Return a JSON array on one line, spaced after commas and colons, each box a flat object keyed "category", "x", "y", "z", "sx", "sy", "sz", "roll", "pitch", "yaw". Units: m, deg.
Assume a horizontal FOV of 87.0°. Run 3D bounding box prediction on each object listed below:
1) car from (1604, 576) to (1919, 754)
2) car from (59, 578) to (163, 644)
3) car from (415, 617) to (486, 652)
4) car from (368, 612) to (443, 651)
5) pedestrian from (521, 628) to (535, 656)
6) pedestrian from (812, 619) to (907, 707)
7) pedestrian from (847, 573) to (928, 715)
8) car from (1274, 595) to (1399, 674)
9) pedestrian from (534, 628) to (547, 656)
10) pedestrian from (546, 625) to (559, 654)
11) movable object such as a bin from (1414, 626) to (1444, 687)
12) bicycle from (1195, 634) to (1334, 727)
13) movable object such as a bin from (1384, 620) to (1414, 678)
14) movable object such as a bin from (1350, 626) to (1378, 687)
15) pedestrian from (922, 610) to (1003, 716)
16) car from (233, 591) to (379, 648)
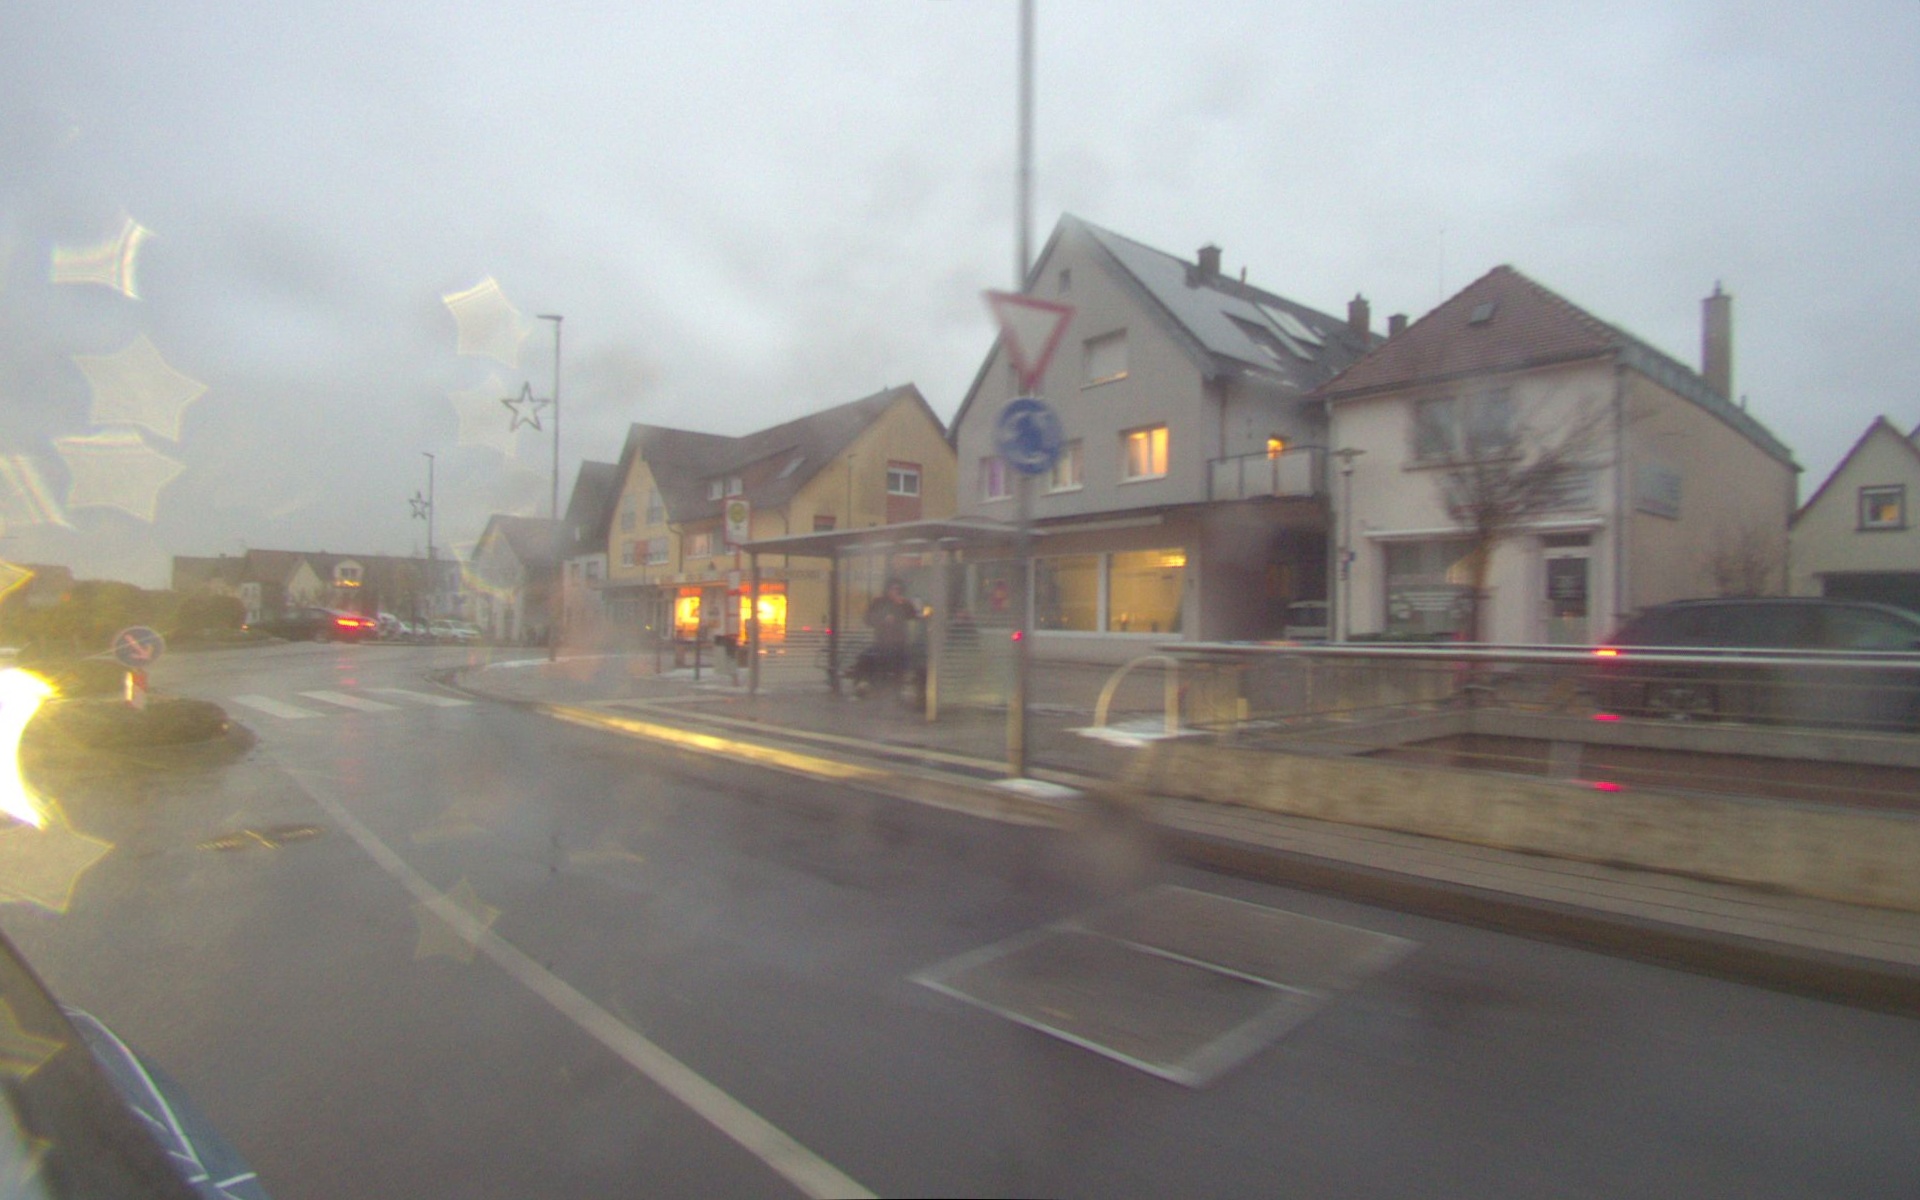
[{"category": "car", "x": 9.646, "y": 0.679, "z": 10.630, "sx": 1.734, "sy": 1.714, "sz": 4.569, "roll": 4, "pitch": -4, "yaw": -43}, {"category": "car", "x": -28.098, "y": 0.309, "z": 33.663, "sx": 2.024, "sy": 2.001, "sz": 4.551, "roll": 0, "pitch": 1, "yaw": -32}, {"category": "car", "x": -30.543, "y": 2.032, "z": 60.636, "sx": 3.853, "sy": 1.895, "sz": 1.918, "roll": 1, "pitch": 1, "yaw": 27}, {"category": "car", "x": -32.011, "y": 1.787, "z": 58.425, "sx": 3.953, "sy": 2.029, "sz": 1.908, "roll": 1, "pitch": 1, "yaw": 27}, {"category": "pedestrian", "x": -25.719, "y": 2.505, "z": 60.254, "sx": 0.574, "sy": 1.623, "sz": 0.500, "roll": 0, "pitch": 1, "yaw": -45}, {"category": "pedestrian", "x": -1.427, "y": 0.869, "z": 14.305, "sx": 0.976, "sy": 1.167, "sz": 0.903, "roll": 0, "pitch": -2, "yaw": -40}, {"category": "pedestrian", "x": -0.930, "y": 0.549, "z": 13.012, "sx": 0.687, "sy": 1.755, "sz": 0.740, "roll": -2, "pitch": -1, "yaw": 41}, {"category": "car", "x": 9.563, "y": 0.840, "z": 25.625, "sx": 3.373, "sy": 1.867, "sz": 1.515, "roll": 1, "pitch": -1, "yaw": -41}, {"category": "pedestrian", "x": -25.464, "y": 2.538, "z": 61.458, "sx": 0.574, "sy": 1.623, "sz": 0.500, "roll": 0, "pitch": 1, "yaw": -45}, {"category": "pedestrian", "x": -23.709, "y": 2.290, "z": 58.890, "sx": 0.574, "sy": 1.623, "sz": 0.500, "roll": 0, "pitch": 1, "yaw": -45}, {"category": "movable object such as a bin", "x": 9.193, "y": 1.093, "z": 19.832, "sx": 0.284, "sy": 1.151, "sz": 0.454, "roll": 0, "pitch": 1, "yaw": -44}, {"category": "bicycle", "x": 3.662, "y": 0.940, "z": 12.310, "sx": 0.463, "sy": 1.017, "sz": 1.744, "roll": 1, "pitch": -2, "yaw": -33}, {"category": "movable object such as a bin", "x": 8.800, "y": 0.970, "z": 20.280, "sx": 0.284, "sy": 1.129, "sz": 0.454, "roll": 0, "pitch": 1, "yaw": -44}, {"category": "movable object such as a bin", "x": 8.309, "y": 1.154, "z": 20.815, "sx": 0.284, "sy": 1.219, "sz": 0.454, "roll": 0, "pitch": 1, "yaw": -44}, {"category": "pedestrian", "x": 0.033, "y": 0.784, "z": 12.902, "sx": 0.677, "sy": 1.281, "sz": 0.751, "roll": -1, "pitch": -1, "yaw": -45}, {"category": "car", "x": -24.849, "y": 0.716, "z": 38.533, "sx": 4.407, "sy": 2.029, "sz": 1.998, "roll": 1, "pitch": 1, "yaw": 5}]
